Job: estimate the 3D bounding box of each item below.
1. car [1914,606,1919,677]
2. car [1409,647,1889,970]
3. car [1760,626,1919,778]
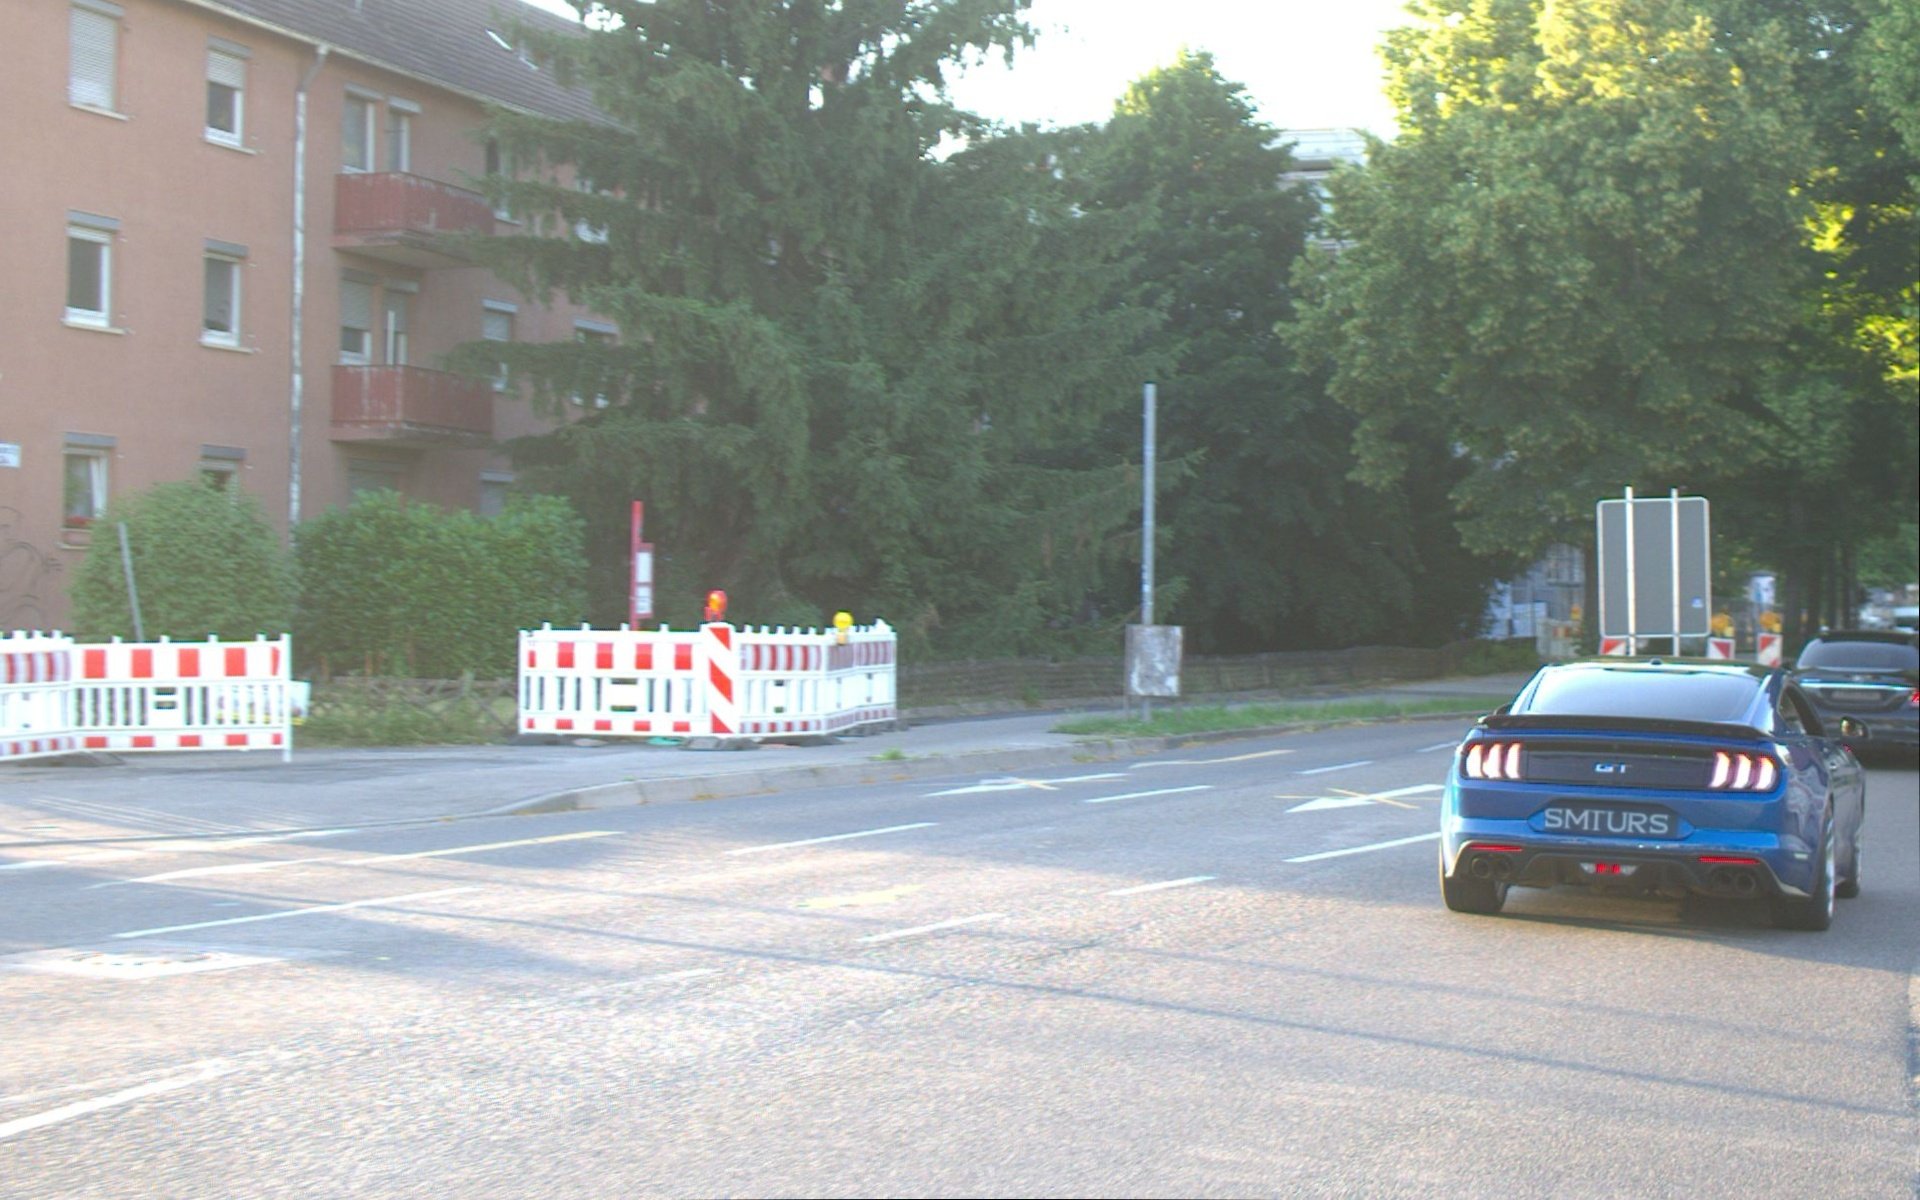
[{"bbox_3d":[23.015,0.953,78.769,1.953,1.566,4.425,2,1,19],"label":"car"},{"bbox_3d":[3.842,1.004,18.497,1.953,1.337,4.666,3,1,18],"label":"car"},{"bbox_3d":[9.771,1.059,37.147,1.953,1.422,4.426,2,1,16],"label":"car"}]
